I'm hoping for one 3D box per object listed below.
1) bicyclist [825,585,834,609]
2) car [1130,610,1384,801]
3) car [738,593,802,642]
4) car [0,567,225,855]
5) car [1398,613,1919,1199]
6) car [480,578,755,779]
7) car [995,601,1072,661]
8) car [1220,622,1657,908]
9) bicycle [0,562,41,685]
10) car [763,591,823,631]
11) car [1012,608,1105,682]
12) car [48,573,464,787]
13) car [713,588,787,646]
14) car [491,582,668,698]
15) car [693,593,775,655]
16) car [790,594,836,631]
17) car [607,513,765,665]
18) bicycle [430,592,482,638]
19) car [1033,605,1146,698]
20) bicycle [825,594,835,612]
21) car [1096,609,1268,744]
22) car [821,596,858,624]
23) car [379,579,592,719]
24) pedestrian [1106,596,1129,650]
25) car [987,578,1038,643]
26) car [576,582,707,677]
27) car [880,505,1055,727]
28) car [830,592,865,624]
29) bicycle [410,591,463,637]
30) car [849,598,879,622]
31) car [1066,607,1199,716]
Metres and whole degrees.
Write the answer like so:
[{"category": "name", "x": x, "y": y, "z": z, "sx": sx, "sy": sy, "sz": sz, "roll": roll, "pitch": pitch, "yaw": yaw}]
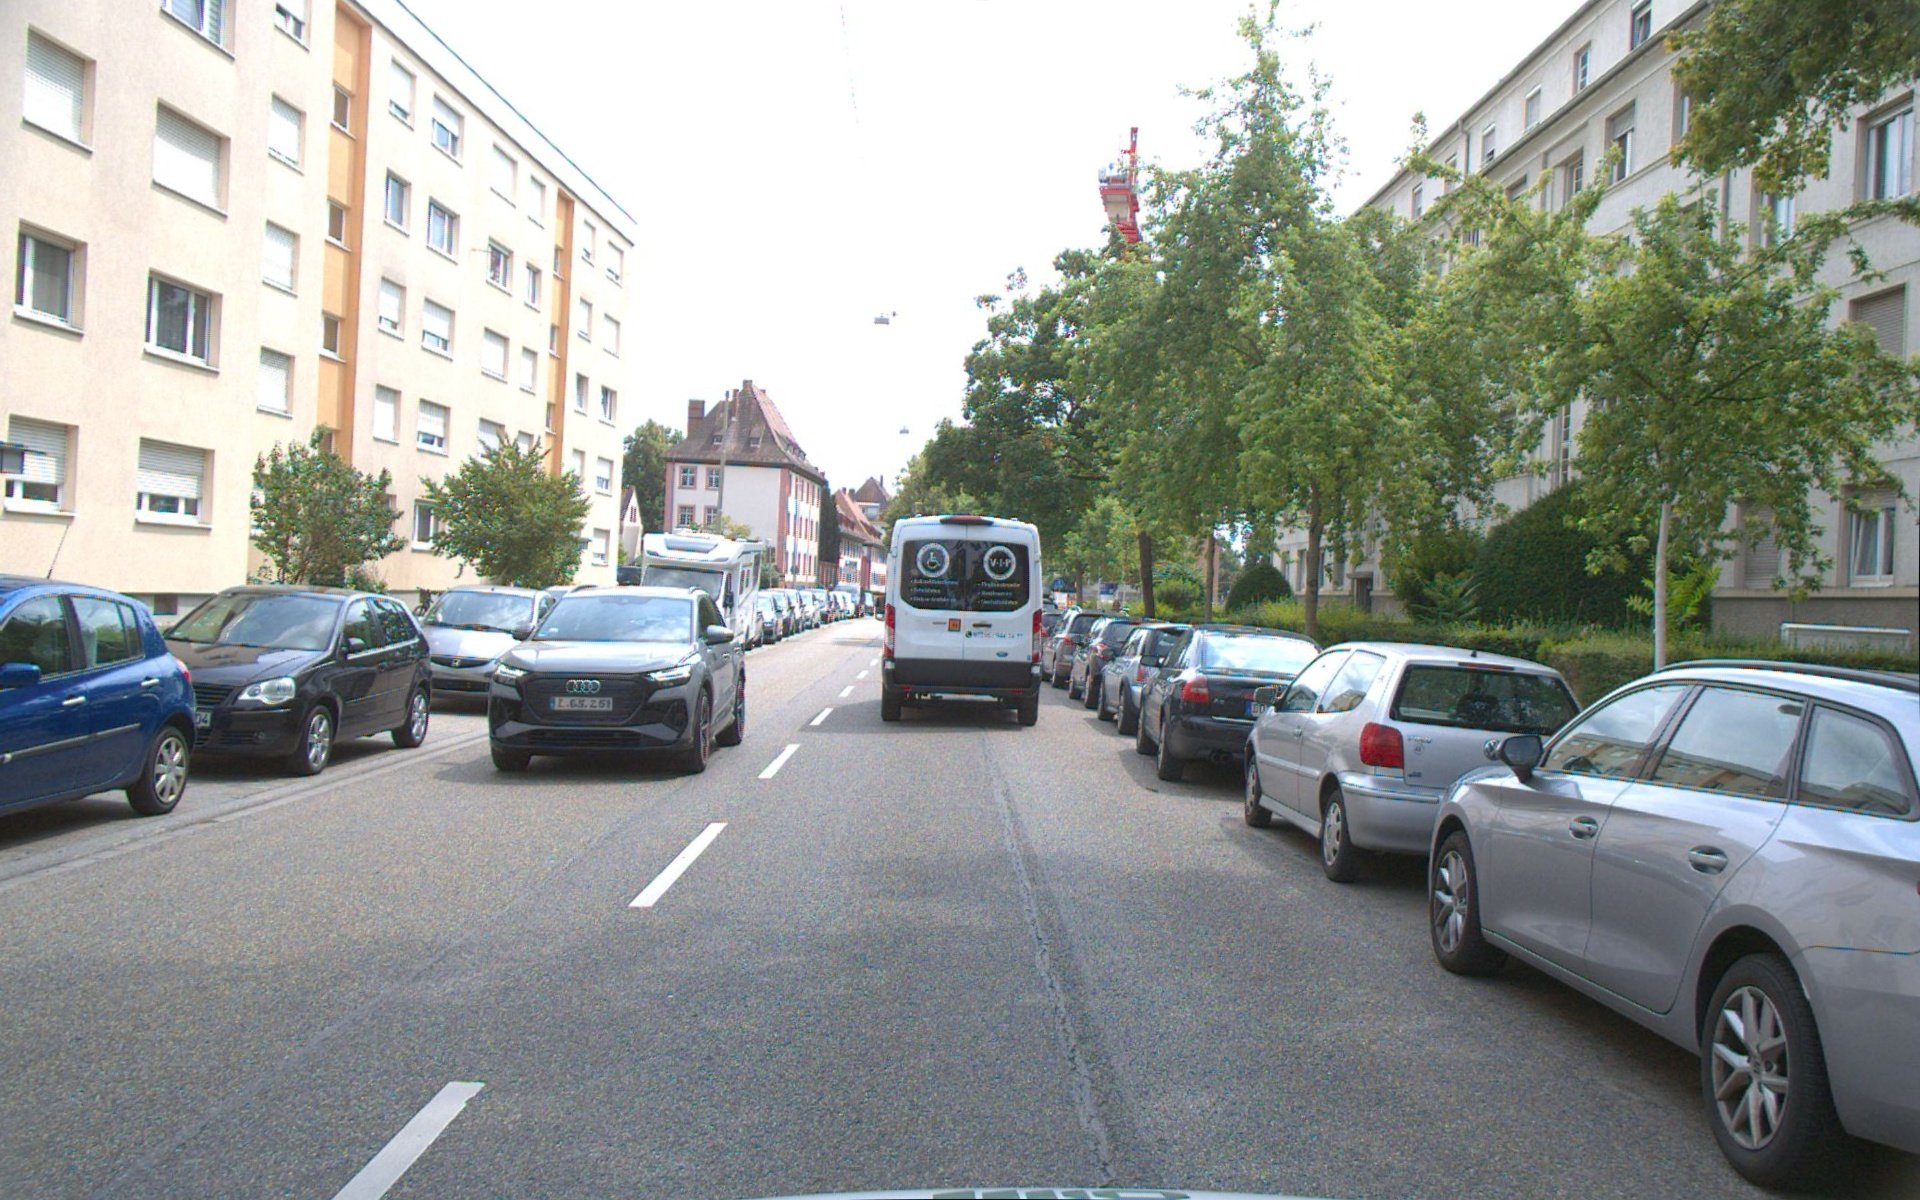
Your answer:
[{"category": "bicyclist", "x": -8.943, "y": -0.186, "z": 113.585, "sx": 0.525, "sy": 1.613, "sz": 0.692, "roll": 2, "pitch": 0, "yaw": 2}, {"category": "car", "x": 2.746, "y": 0.903, "z": 16.278, "sx": 1.743, "sy": 1.495, "sz": 4.615, "roll": 4, "pitch": 0, "yaw": 2}, {"category": "car", "x": -6.558, "y": 0.581, "z": 57.536, "sx": 1.706, "sy": 1.522, "sz": 4.784, "roll": 4, "pitch": 0, "yaw": -1}, {"category": "car", "x": -5.976, "y": 0.560, "z": 9.332, "sx": 1.781, "sy": 1.509, "sz": 3.885, "roll": 3, "pitch": 0, "yaw": 1}, {"category": "car", "x": 3.080, "y": 0.867, "z": 5.759, "sx": 1.663, "sy": 1.495, "sz": 4.716, "roll": 4, "pitch": 0, "yaw": -2}, {"category": "car", "x": -3.078, "y": 0.643, "z": 15.783, "sx": 1.781, "sy": 1.613, "sz": 4.434, "roll": 1, "pitch": 0, "yaw": -2}, {"category": "car", "x": 2.335, "y": 0.964, "z": 54.017, "sx": 1.889, "sy": 1.690, "sz": 5.322, "roll": 5, "pitch": 0, "yaw": -3}, {"category": "car", "x": 2.970, "y": 0.944, "z": 11.127, "sx": 1.636, "sy": 1.425, "sz": 3.850, "roll": 5, "pitch": 0, "yaw": -2}, {"category": "bicycle", "x": -11.360, "y": 0.275, "z": 18.846, "sx": 0.452, "sy": 1.418, "sz": 2.131, "roll": 2, "pitch": 1, "yaw": 3}, {"category": "car", "x": -6.920, "y": 0.441, "z": 68.829, "sx": 1.847, "sy": 1.514, "sz": 4.634, "roll": 4, "pitch": 0, "yaw": 1}, {"category": "car", "x": 2.212, "y": 0.988, "z": 38.190, "sx": 1.585, "sy": 1.495, "sz": 4.388, "roll": 4, "pitch": 0, "yaw": -3}, {"category": "car", "x": -5.948, "y": 0.608, "z": 14.587, "sx": 1.781, "sy": 1.509, "sz": 4.116, "roll": 4, "pitch": 0, "yaw": 1}, {"category": "car", "x": -6.502, "y": 0.487, "z": 51.713, "sx": 1.848, "sy": 1.607, "sz": 5.215, "roll": 4, "pitch": 0, "yaw": -3}, {"category": "car", "x": -6.044, "y": 0.598, "z": 26.803, "sx": 1.719, "sy": 1.607, "sz": 4.568, "roll": 4, "pitch": 0, "yaw": 0}, {"category": "car", "x": -6.199, "y": 0.635, "z": 45.745, "sx": 1.655, "sy": 1.522, "sz": 4.592, "roll": 4, "pitch": 0, "yaw": -1}, {"category": "car", "x": -6.950, "y": 0.584, "z": 78.487, "sx": 1.749, "sy": 1.570, "sz": 3.861, "roll": 4, "pitch": 0, "yaw": 0}, {"category": "car", "x": -6.226, "y": -0.230, "z": 38.697, "sx": 2.460, "sy": 3.076, "sz": 7.394, "roll": 3, "pitch": 0, "yaw": -1}, {"category": "bicycle", "x": -11.621, "y": 0.330, "z": 38.197, "sx": 0.443, "sy": 0.997, "sz": 2.445, "roll": 2, "pitch": 1, "yaw": -1}, {"category": "car", "x": 2.535, "y": 0.980, "z": 33.362, "sx": 1.626, "sy": 1.610, "sz": 4.283, "roll": 5, "pitch": 0, "yaw": -3}, {"category": "bicycle", "x": -8.939, "y": 0.217, "z": 113.908, "sx": 0.530, "sy": 1.195, "sz": 1.349, "roll": 2, "pitch": 0, "yaw": 2}, {"category": "car", "x": 2.843, "y": 0.936, "z": 21.904, "sx": 1.626, "sy": 1.495, "sz": 3.724, "roll": 2, "pitch": 1, "yaw": -2}, {"category": "car", "x": -7.013, "y": 0.598, "z": 96.693, "sx": 1.749, "sy": 1.507, "sz": 3.861, "roll": 4, "pitch": 0, "yaw": 0}, {"category": "car", "x": -6.053, "y": 0.558, "z": 21.541, "sx": 1.688, "sy": 1.566, "sz": 4.003, "roll": 2, "pitch": 1, "yaw": -2}, {"category": "pedestrian", "x": 5.458, "y": 0.794, "z": 57.351, "sx": 0.519, "sy": 1.860, "sz": 0.516, "roll": 2, "pitch": 0, "yaw": -39}, {"category": "car", "x": 2.265, "y": 0.459, "z": 72.725, "sx": 1.859, "sy": 2.631, "sz": 4.828, "roll": 5, "pitch": 0, "yaw": -1}, {"category": "car", "x": -6.063, "y": 0.530, "z": 31.977, "sx": 1.655, "sy": 1.607, "sz": 4.592, "roll": 4, "pitch": 0, "yaw": -1}, {"category": "car", "x": -0.010, "y": 0.206, "z": 21.896, "sx": 2.029, "sy": 2.585, "sz": 4.632, "roll": 1, "pitch": -1, "yaw": -3}, {"category": "car", "x": -6.904, "y": 0.490, "z": 102.053, "sx": 1.749, "sy": 1.858, "sz": 3.974, "roll": 4, "pitch": 0, "yaw": 0}, {"category": "bicycle", "x": -12.089, "y": 0.309, "z": 38.234, "sx": 0.443, "sy": 0.997, "sz": 2.445, "roll": 2, "pitch": 1, "yaw": -1}, {"category": "car", "x": -6.491, "y": 0.652, "z": 112.356, "sx": 1.749, "sy": 1.507, "sz": 3.861, "roll": 4, "pitch": 0, "yaw": 0}, {"category": "car", "x": 2.730, "y": 0.936, "z": 26.950, "sx": 1.626, "sy": 1.495, "sz": 3.889, "roll": 2, "pitch": 1, "yaw": -2}]
